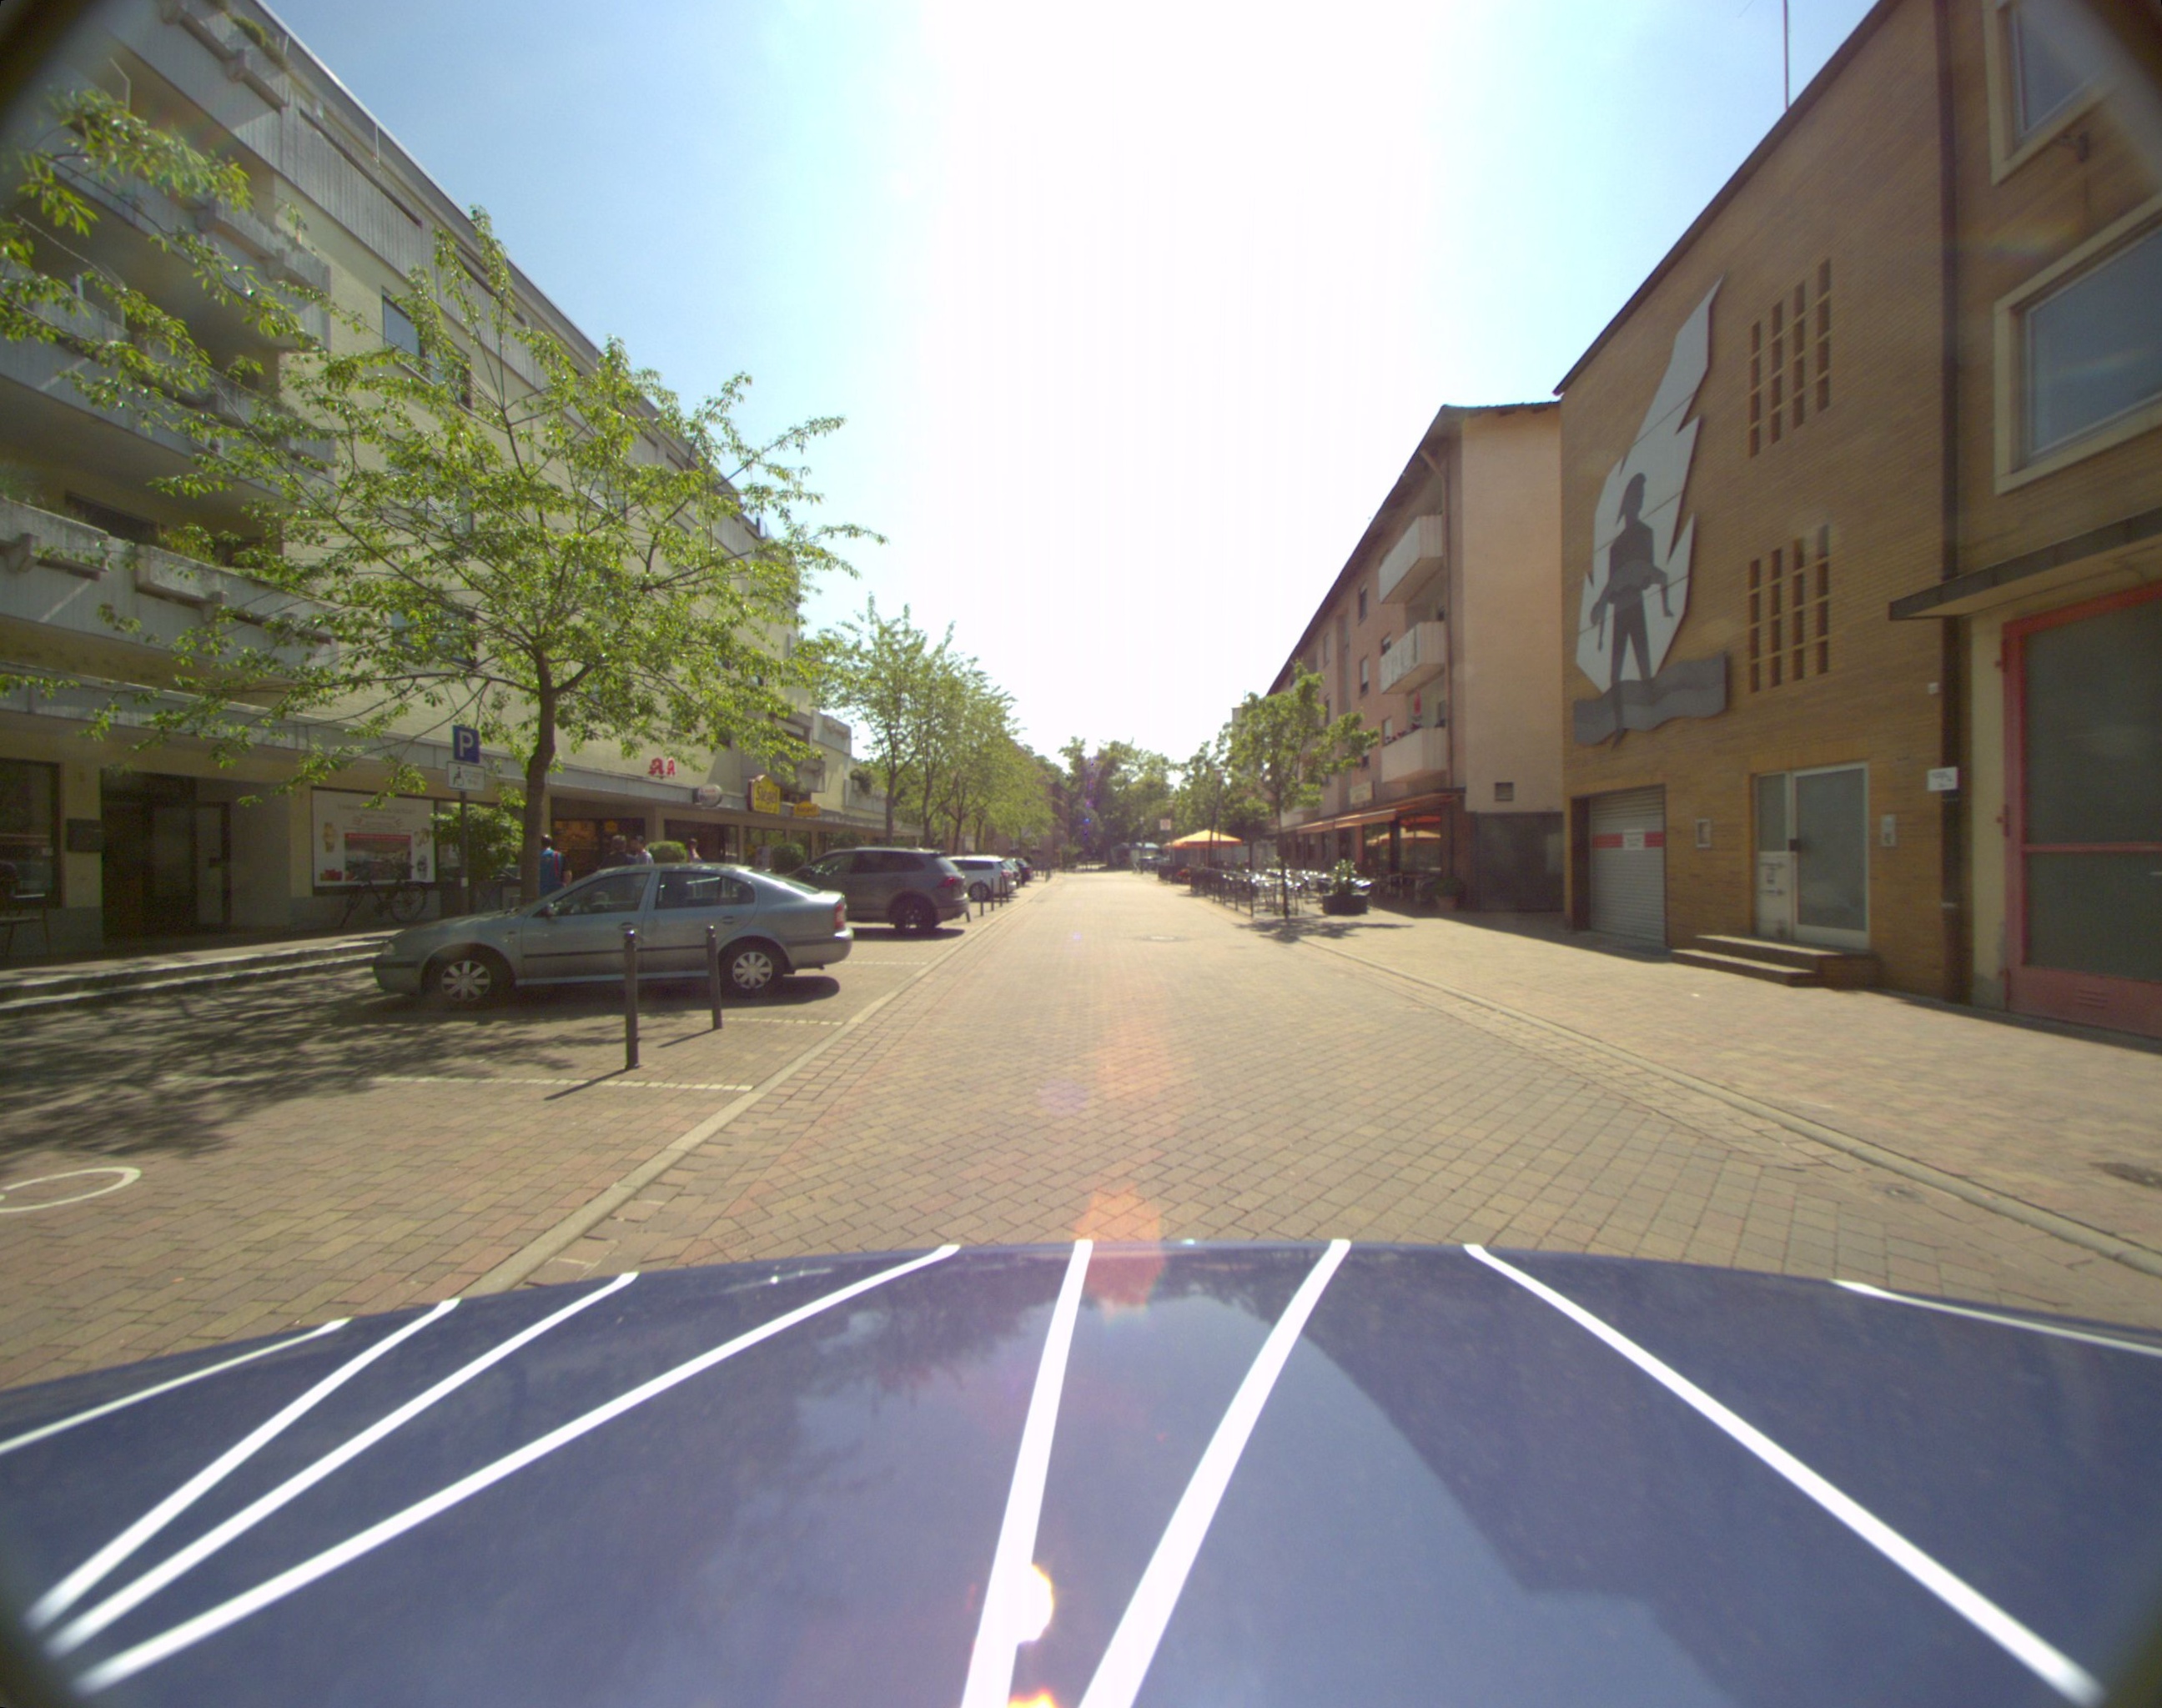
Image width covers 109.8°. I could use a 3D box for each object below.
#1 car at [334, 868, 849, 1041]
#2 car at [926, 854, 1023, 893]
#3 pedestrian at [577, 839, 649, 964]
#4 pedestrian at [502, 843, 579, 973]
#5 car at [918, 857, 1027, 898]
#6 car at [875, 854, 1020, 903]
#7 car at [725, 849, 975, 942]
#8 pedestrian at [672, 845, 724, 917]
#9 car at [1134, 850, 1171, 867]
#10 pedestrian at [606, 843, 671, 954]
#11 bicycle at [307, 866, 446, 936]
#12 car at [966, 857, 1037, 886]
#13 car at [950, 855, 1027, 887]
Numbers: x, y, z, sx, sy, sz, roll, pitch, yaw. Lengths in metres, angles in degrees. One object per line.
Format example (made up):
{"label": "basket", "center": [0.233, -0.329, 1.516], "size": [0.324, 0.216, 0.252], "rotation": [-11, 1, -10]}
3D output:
{"label": "car", "center": [-4.905, 0.930, 8.415], "size": [4.391, 1.455, 1.887], "rotation": [0, 1, -19]}
{"label": "car", "center": [-4.303, 0.769, 31.054], "size": [3.652, 1.508, 1.633], "rotation": [1, 0, 1]}
{"label": "pedestrian", "center": [-6.915, 0.679, 11.232], "size": [0.626, 1.786, 0.607], "rotation": [-1, 1, 21]}
{"label": "pedestrian", "center": [-7.624, 0.736, 10.727], "size": [0.685, 1.763, 0.633], "rotation": [-1, 1, 33]}
{"label": "car", "center": [-4.020, 0.845, 28.491], "size": [3.800, 1.423, 1.614], "rotation": [1, 0, 1]}
{"label": "car", "center": [-4.492, 0.800, 25.948], "size": [4.585, 1.534, 1.807], "rotation": [1, 1, 1]}
{"label": "car", "center": [-4.278, 0.748, 14.565], "size": [4.254, 1.608, 1.756], "rotation": [1, 0, -1]}
{"label": "pedestrian", "center": [-9.636, 0.670, 19.139], "size": [0.759, 1.770, 0.870], "rotation": [-1, 1, 8]}
{"label": "car", "center": [7.237, 0.442, 76.417], "size": [1.899, 1.547, 5.041], "rotation": [0, 0, 29]}
{"label": "pedestrian", "center": [-7.175, 0.699, 12.318], "size": [0.614, 1.721, 0.649], "rotation": [-1, 2, 35]}
{"label": "bicycle", "center": [-12.269, 0.786, 13.323], "size": [0.643, 1.075, 1.866], "rotation": [-2, 1, 1]}
{"label": "car", "center": [-4.022, 0.861, 38.599], "size": [3.401, 1.382, 1.460], "rotation": [1, 0, 1]}
{"label": "car", "center": [-4.372, 0.782, 36.180], "size": [3.401, 1.455, 1.520], "rotation": [1, 0, 1]}
